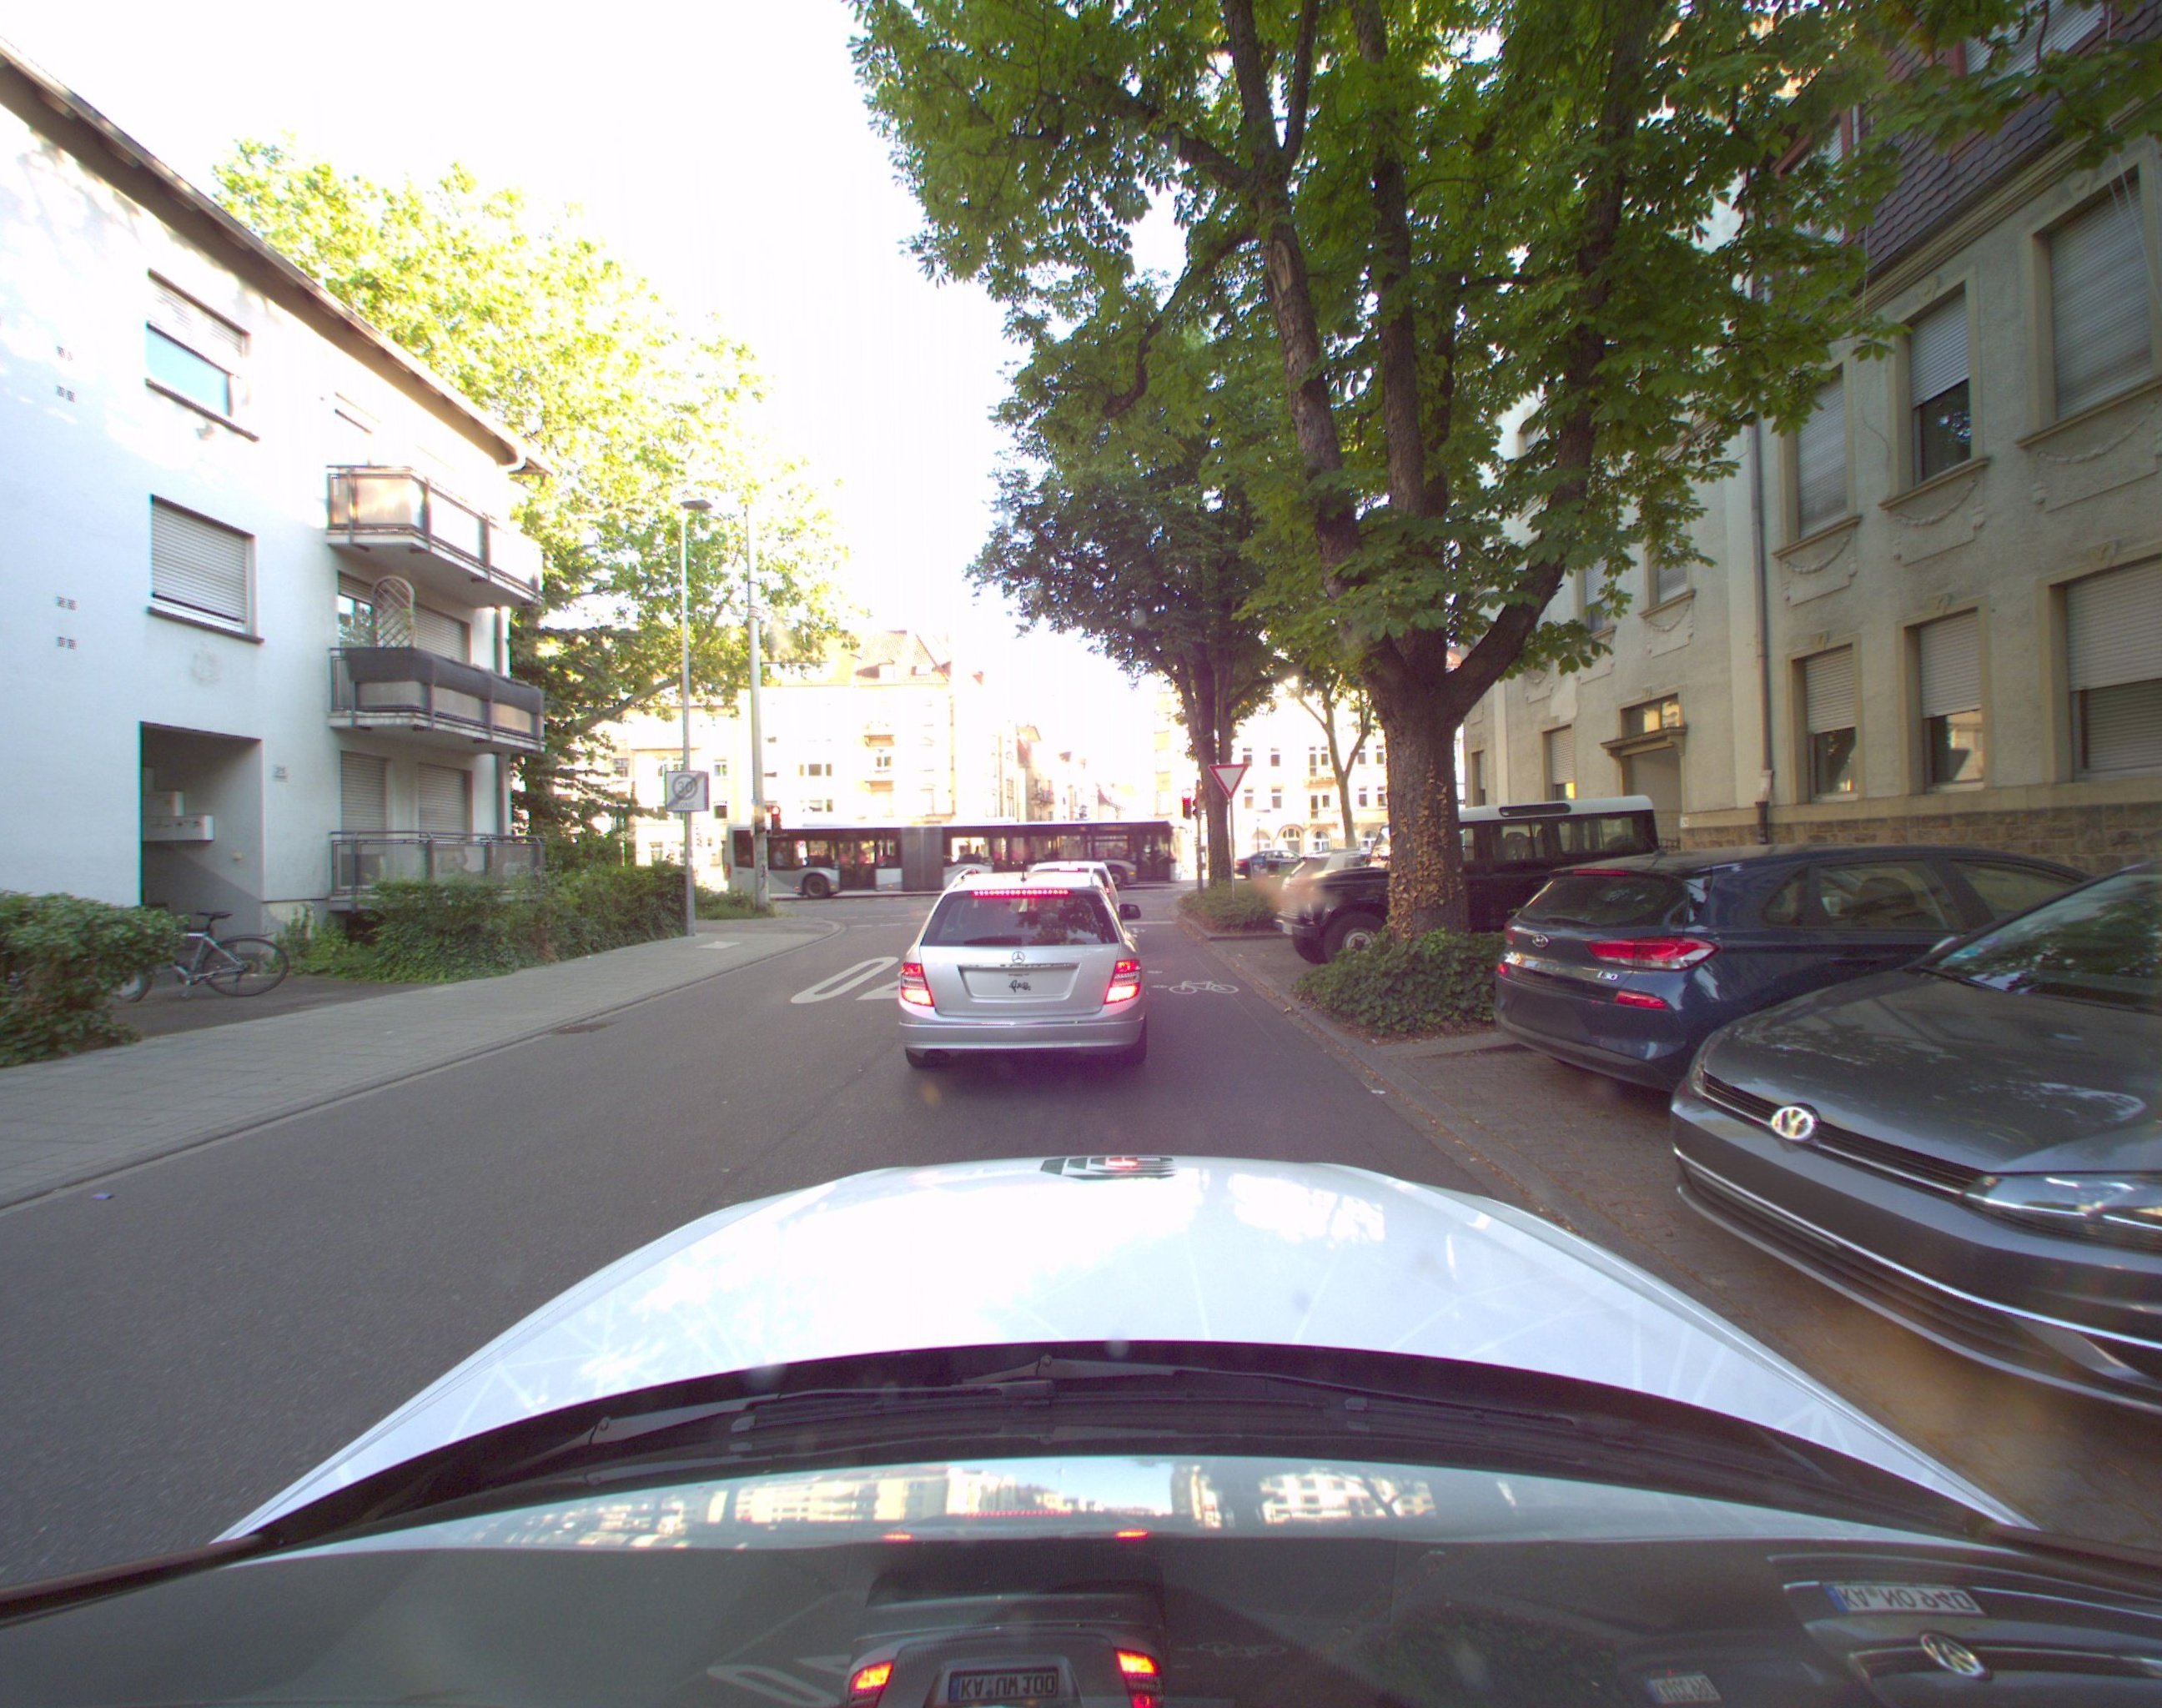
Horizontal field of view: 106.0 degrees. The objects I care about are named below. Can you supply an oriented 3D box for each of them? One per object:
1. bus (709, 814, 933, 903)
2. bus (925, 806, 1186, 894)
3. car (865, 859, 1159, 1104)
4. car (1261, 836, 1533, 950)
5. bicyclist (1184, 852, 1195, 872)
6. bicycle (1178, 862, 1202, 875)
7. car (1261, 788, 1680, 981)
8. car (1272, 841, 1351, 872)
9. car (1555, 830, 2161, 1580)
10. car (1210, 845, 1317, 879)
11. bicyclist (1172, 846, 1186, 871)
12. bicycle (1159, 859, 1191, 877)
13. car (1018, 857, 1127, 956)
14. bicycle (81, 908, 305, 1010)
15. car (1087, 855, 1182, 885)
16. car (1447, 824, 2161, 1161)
[{"bbox_3d":[-10.319,0.146,33.156,8.166,3.201,2.905,-2,0,-7],"label":"bus"},{"bbox_3d":[-1.086,-0.174,34.244,10.440,3.201,2.905,-2,0,-7],"label":"bus"},{"bbox_3d":[-0.408,0.788,7.242,1.771,1.452,4.547,-1,0,0],"label":"car"},{"bbox_3d":[5.023,0.593,13.286,3.714,1.570,1.707,-3,-1,-2],"label":"car"},{"bbox_3d":[7.863,0.567,58.847,0.642,1.426,0.636,-1,0,-3],"label":"bicyclist"},{"bbox_3d":[7.887,1.025,58.841,1.613,0.876,0.636,-1,0,-4],"label":"bicycle"},{"bbox_3d":[4.734,0.347,10.326,4.453,2.036,1.700,-3,-1,-2],"label":"car"},{"bbox_3d":[12.087,0.126,42.824,3.682,1.449,1.513,-2,0,-7],"label":"car"},{"bbox_3d":[4.028,0.641,2.580,4.042,1.452,1.722,-3,-1,-2],"label":"car"},{"bbox_3d":[8.709,0.380,38.958,4.684,1.428,1.715,-2,0,-7],"label":"car"},{"bbox_3d":[7.330,0.328,61.042,0.889,1.859,0.636,-1,0,-3],"label":"bicyclist"},{"bbox_3d":[7.041,1.026,61.020,2.251,1.246,0.636,-1,0,-3],"label":"bicycle"},{"bbox_3d":[-0.116,0.795,14.367,1.614,1.447,4.344,-1,0,0],"label":"car"},{"bbox_3d":[-9.975,1.145,9.240,1.630,1.008,0.511,2,-1,-39],"label":"bicycle"},{"bbox_3d":[2.491,0.728,38.225,4.192,1.236,1.715,-2,0,-7],"label":"car"},{"bbox_3d":[4.393,0.637,4.752,3.714,1.452,1.707,-3,-1,-2],"label":"car"}]
